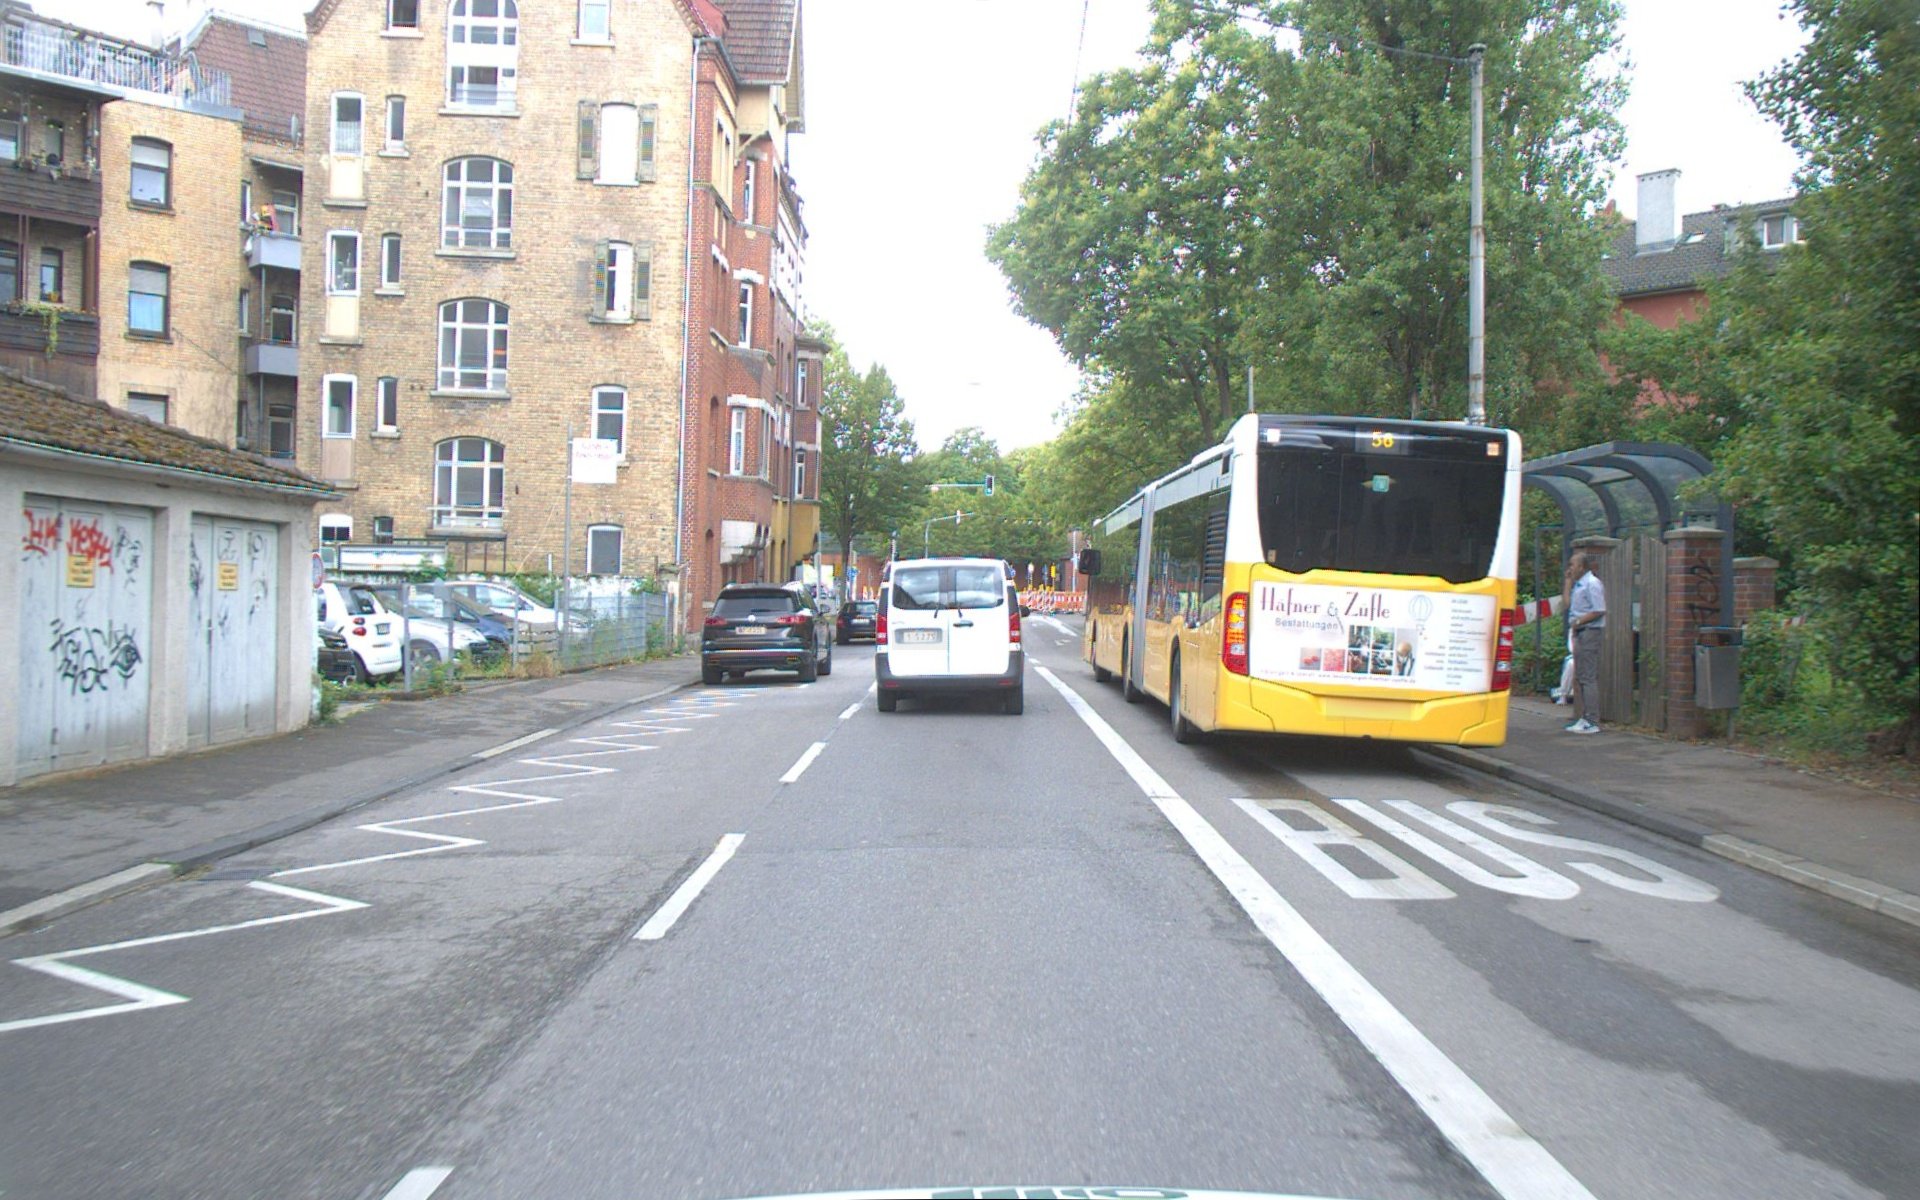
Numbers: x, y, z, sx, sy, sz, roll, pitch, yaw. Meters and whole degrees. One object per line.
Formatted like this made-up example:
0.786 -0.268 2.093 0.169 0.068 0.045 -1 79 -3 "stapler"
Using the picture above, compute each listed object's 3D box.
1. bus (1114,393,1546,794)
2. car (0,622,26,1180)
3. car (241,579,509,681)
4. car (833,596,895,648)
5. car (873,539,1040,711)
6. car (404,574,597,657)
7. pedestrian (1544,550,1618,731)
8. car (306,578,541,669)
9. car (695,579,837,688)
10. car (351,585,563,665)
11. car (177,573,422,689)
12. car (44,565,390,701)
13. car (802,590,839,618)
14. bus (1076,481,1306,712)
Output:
3.530 -0.061 18.697 2.608 3.190 10.040 3 0 1 "bus"
-3.500 0.785 2.422 1.840 1.512 4.127 3 0 0 "car"
-9.371 0.470 26.697 3.646 1.531 1.853 -1 0 1 "car"
-3.192 0.701 55.884 1.689 1.511 4.392 1 2 2 "car"
-0.089 0.376 21.990 1.878 1.935 4.699 3 -2 -1 "car"
-9.528 0.312 34.456 3.522 1.640 1.689 -1 0 1 "car"
6.371 0.410 16.979 0.441 1.810 0.672 -2 0 0 "pedestrian"
-9.442 0.405 29.283 3.522 1.531 1.853 -1 0 1 "car"
-3.353 0.532 29.501 1.914 1.764 4.774 1 0 0 "car"
-9.500 0.465 31.398 3.522 1.439 1.547 -1 0 1 "car"
-9.541 0.437 24.058 2.788 1.592 1.853 -1 0 1 "car"
-9.661 0.415 21.713 3.685 1.672 1.853 -1 0 1 "car"
-8.553 0.237 101.141 1.998 1.511 4.383 1 2 -8 "car"
3.639 -0.053 28.307 2.617 3.193 9.218 3 0 1 "bus"
